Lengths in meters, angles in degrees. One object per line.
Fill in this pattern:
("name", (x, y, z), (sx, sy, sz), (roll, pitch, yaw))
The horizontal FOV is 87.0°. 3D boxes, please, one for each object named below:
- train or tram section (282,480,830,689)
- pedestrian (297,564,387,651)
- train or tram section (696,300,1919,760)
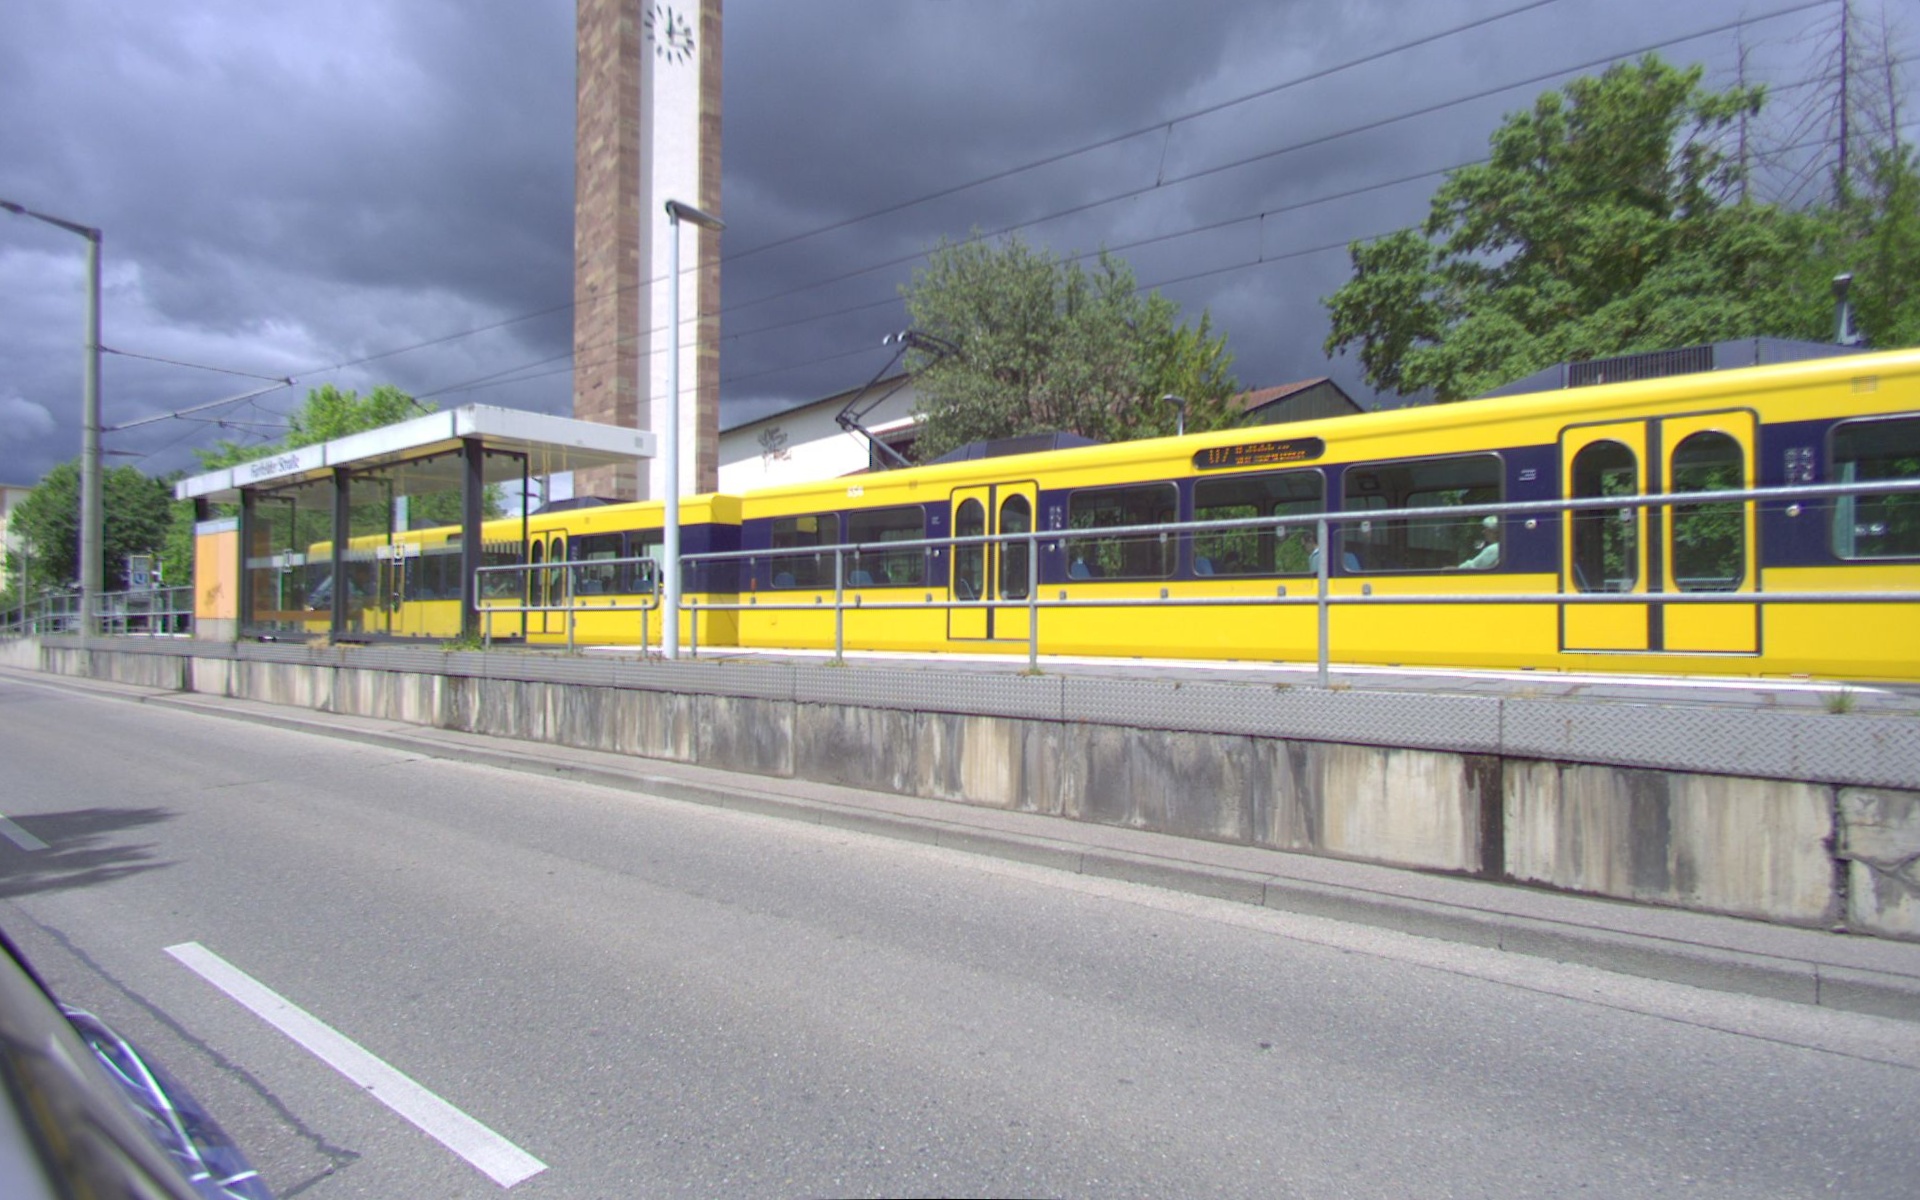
("train or tram section", (-10.836, -0.114, 24.023), (18.800, 3.491, 3.078), (-1, 0, 38))
("pedestrian", (-8.870, 0.122, 14.520), (0.918, 1.196, 0.788), (-1, -3, 37))
("train or tram section", (3.988, -0.452, 12.260), (18.970, 3.491, 3.078), (-1, 0, 38))
